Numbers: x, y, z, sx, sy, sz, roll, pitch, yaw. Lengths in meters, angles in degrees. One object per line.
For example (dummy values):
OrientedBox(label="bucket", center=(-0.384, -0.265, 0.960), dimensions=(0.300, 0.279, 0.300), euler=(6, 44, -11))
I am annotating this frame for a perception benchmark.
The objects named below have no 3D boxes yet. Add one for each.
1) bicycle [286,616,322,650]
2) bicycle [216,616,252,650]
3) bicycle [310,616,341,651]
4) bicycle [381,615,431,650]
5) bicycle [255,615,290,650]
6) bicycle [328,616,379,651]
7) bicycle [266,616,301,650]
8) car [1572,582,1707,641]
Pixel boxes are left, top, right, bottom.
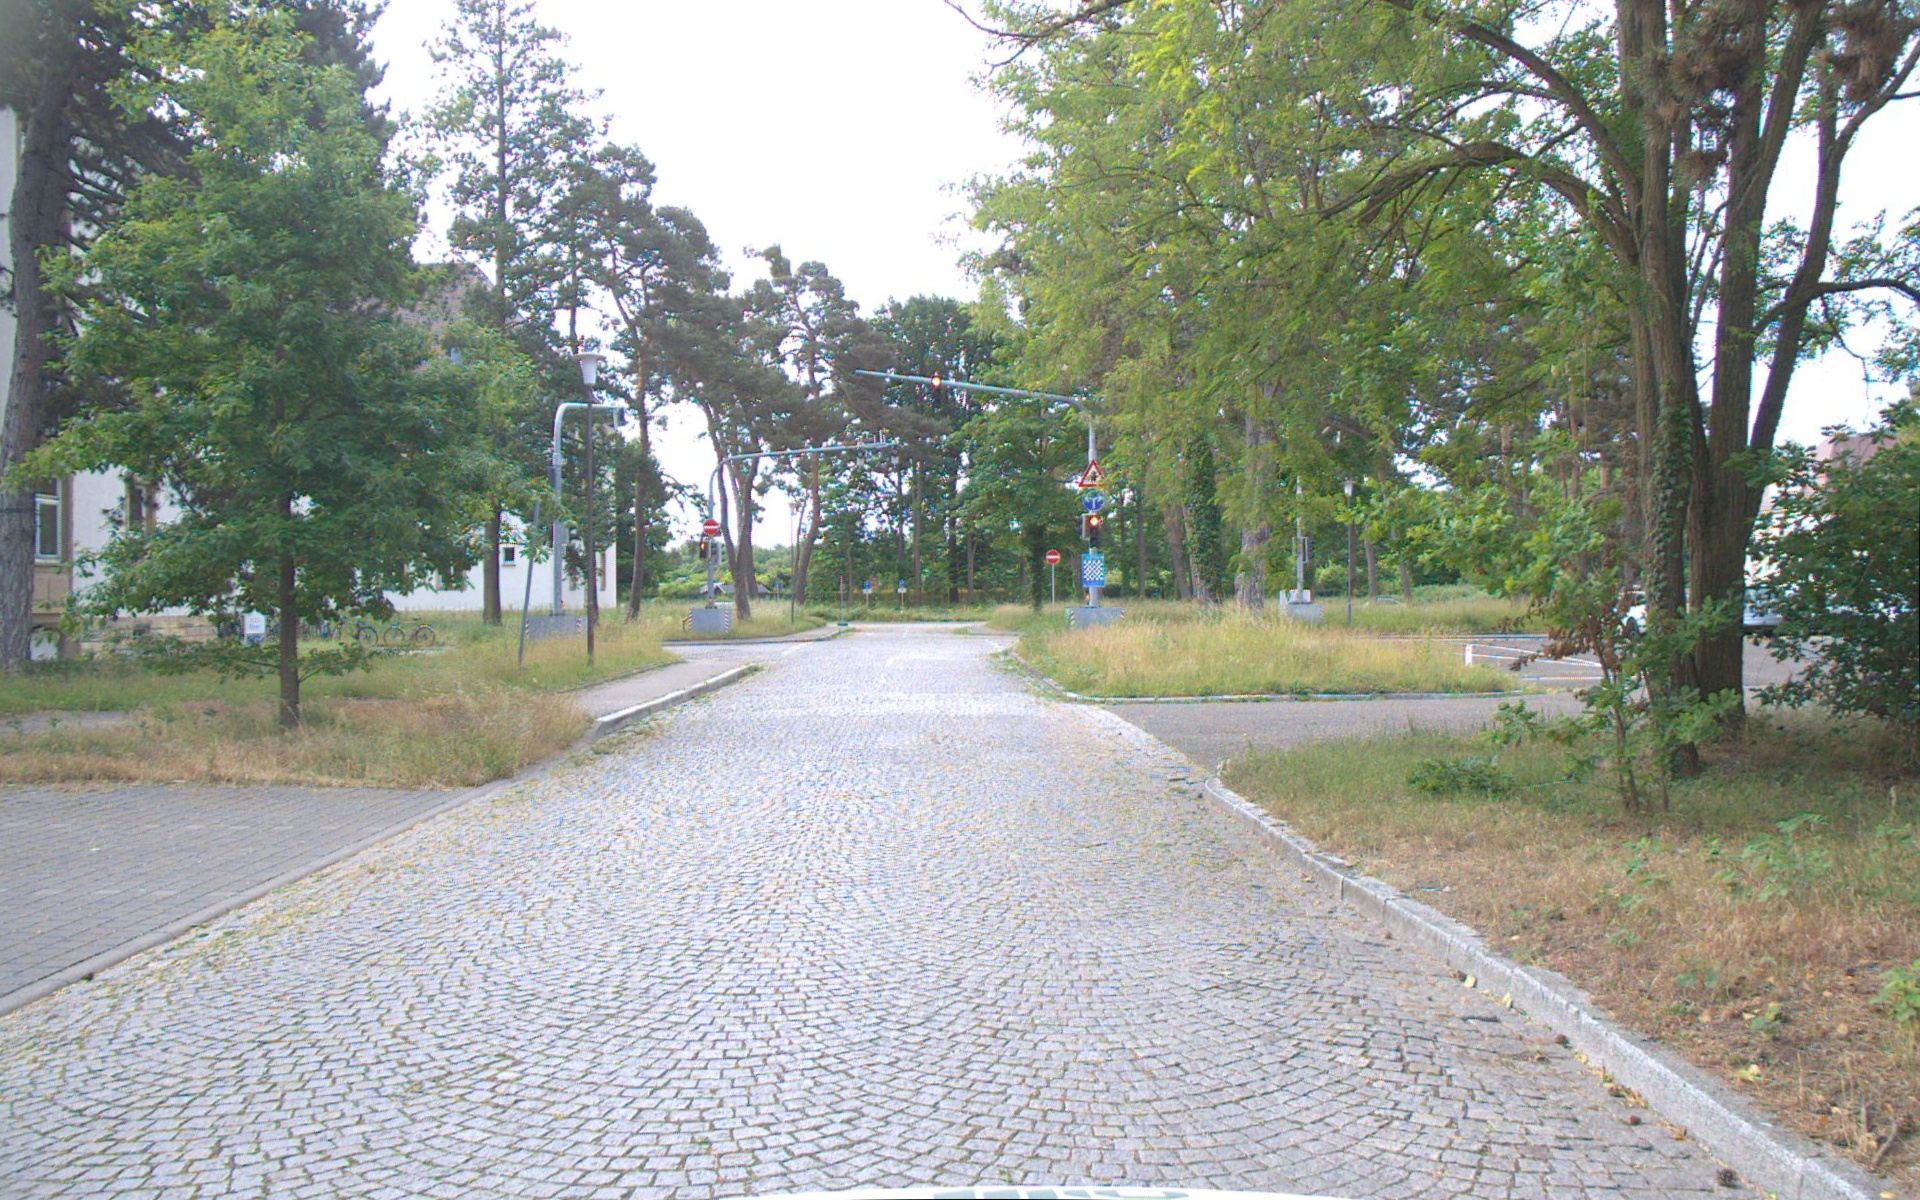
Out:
OrientedBox(label="bicycle", center=(-21.636, 1.088, 54.558), dimensions=(0.504, 1.098, 1.585), euler=(-1, 0, 1))
OrientedBox(label="bicycle", center=(-23.914, 1.082, 54.504), dimensions=(0.504, 1.098, 1.585), euler=(-1, 0, -1))
OrientedBox(label="bicycle", center=(-20.974, 1.100, 54.671), dimensions=(0.504, 1.098, 1.584), euler=(-1, 0, -4))
OrientedBox(label="bicycle", center=(-17.939, 1.039, 53.566), dimensions=(1.435, 1.084, 0.516), euler=(-1, 0, -4))
OrientedBox(label="bicycle", center=(-22.685, 1.070, 54.617), dimensions=(0.504, 1.098, 1.585), euler=(-1, 0, -1))
OrientedBox(label="bicycle", center=(-19.540, 1.086, 53.340), dimensions=(1.435, 1.098, 0.516), euler=(-1, 0, -4))
OrientedBox(label="bicycle", center=(-22.330, 1.076, 54.626), dimensions=(0.504, 1.098, 1.585), euler=(-1, 0, -1))
OrientedBox(label="car", center=(19.875, 0.378, 48.592), dimensions=(1.812, 1.513, 4.604), euler=(1, -3, -4))
